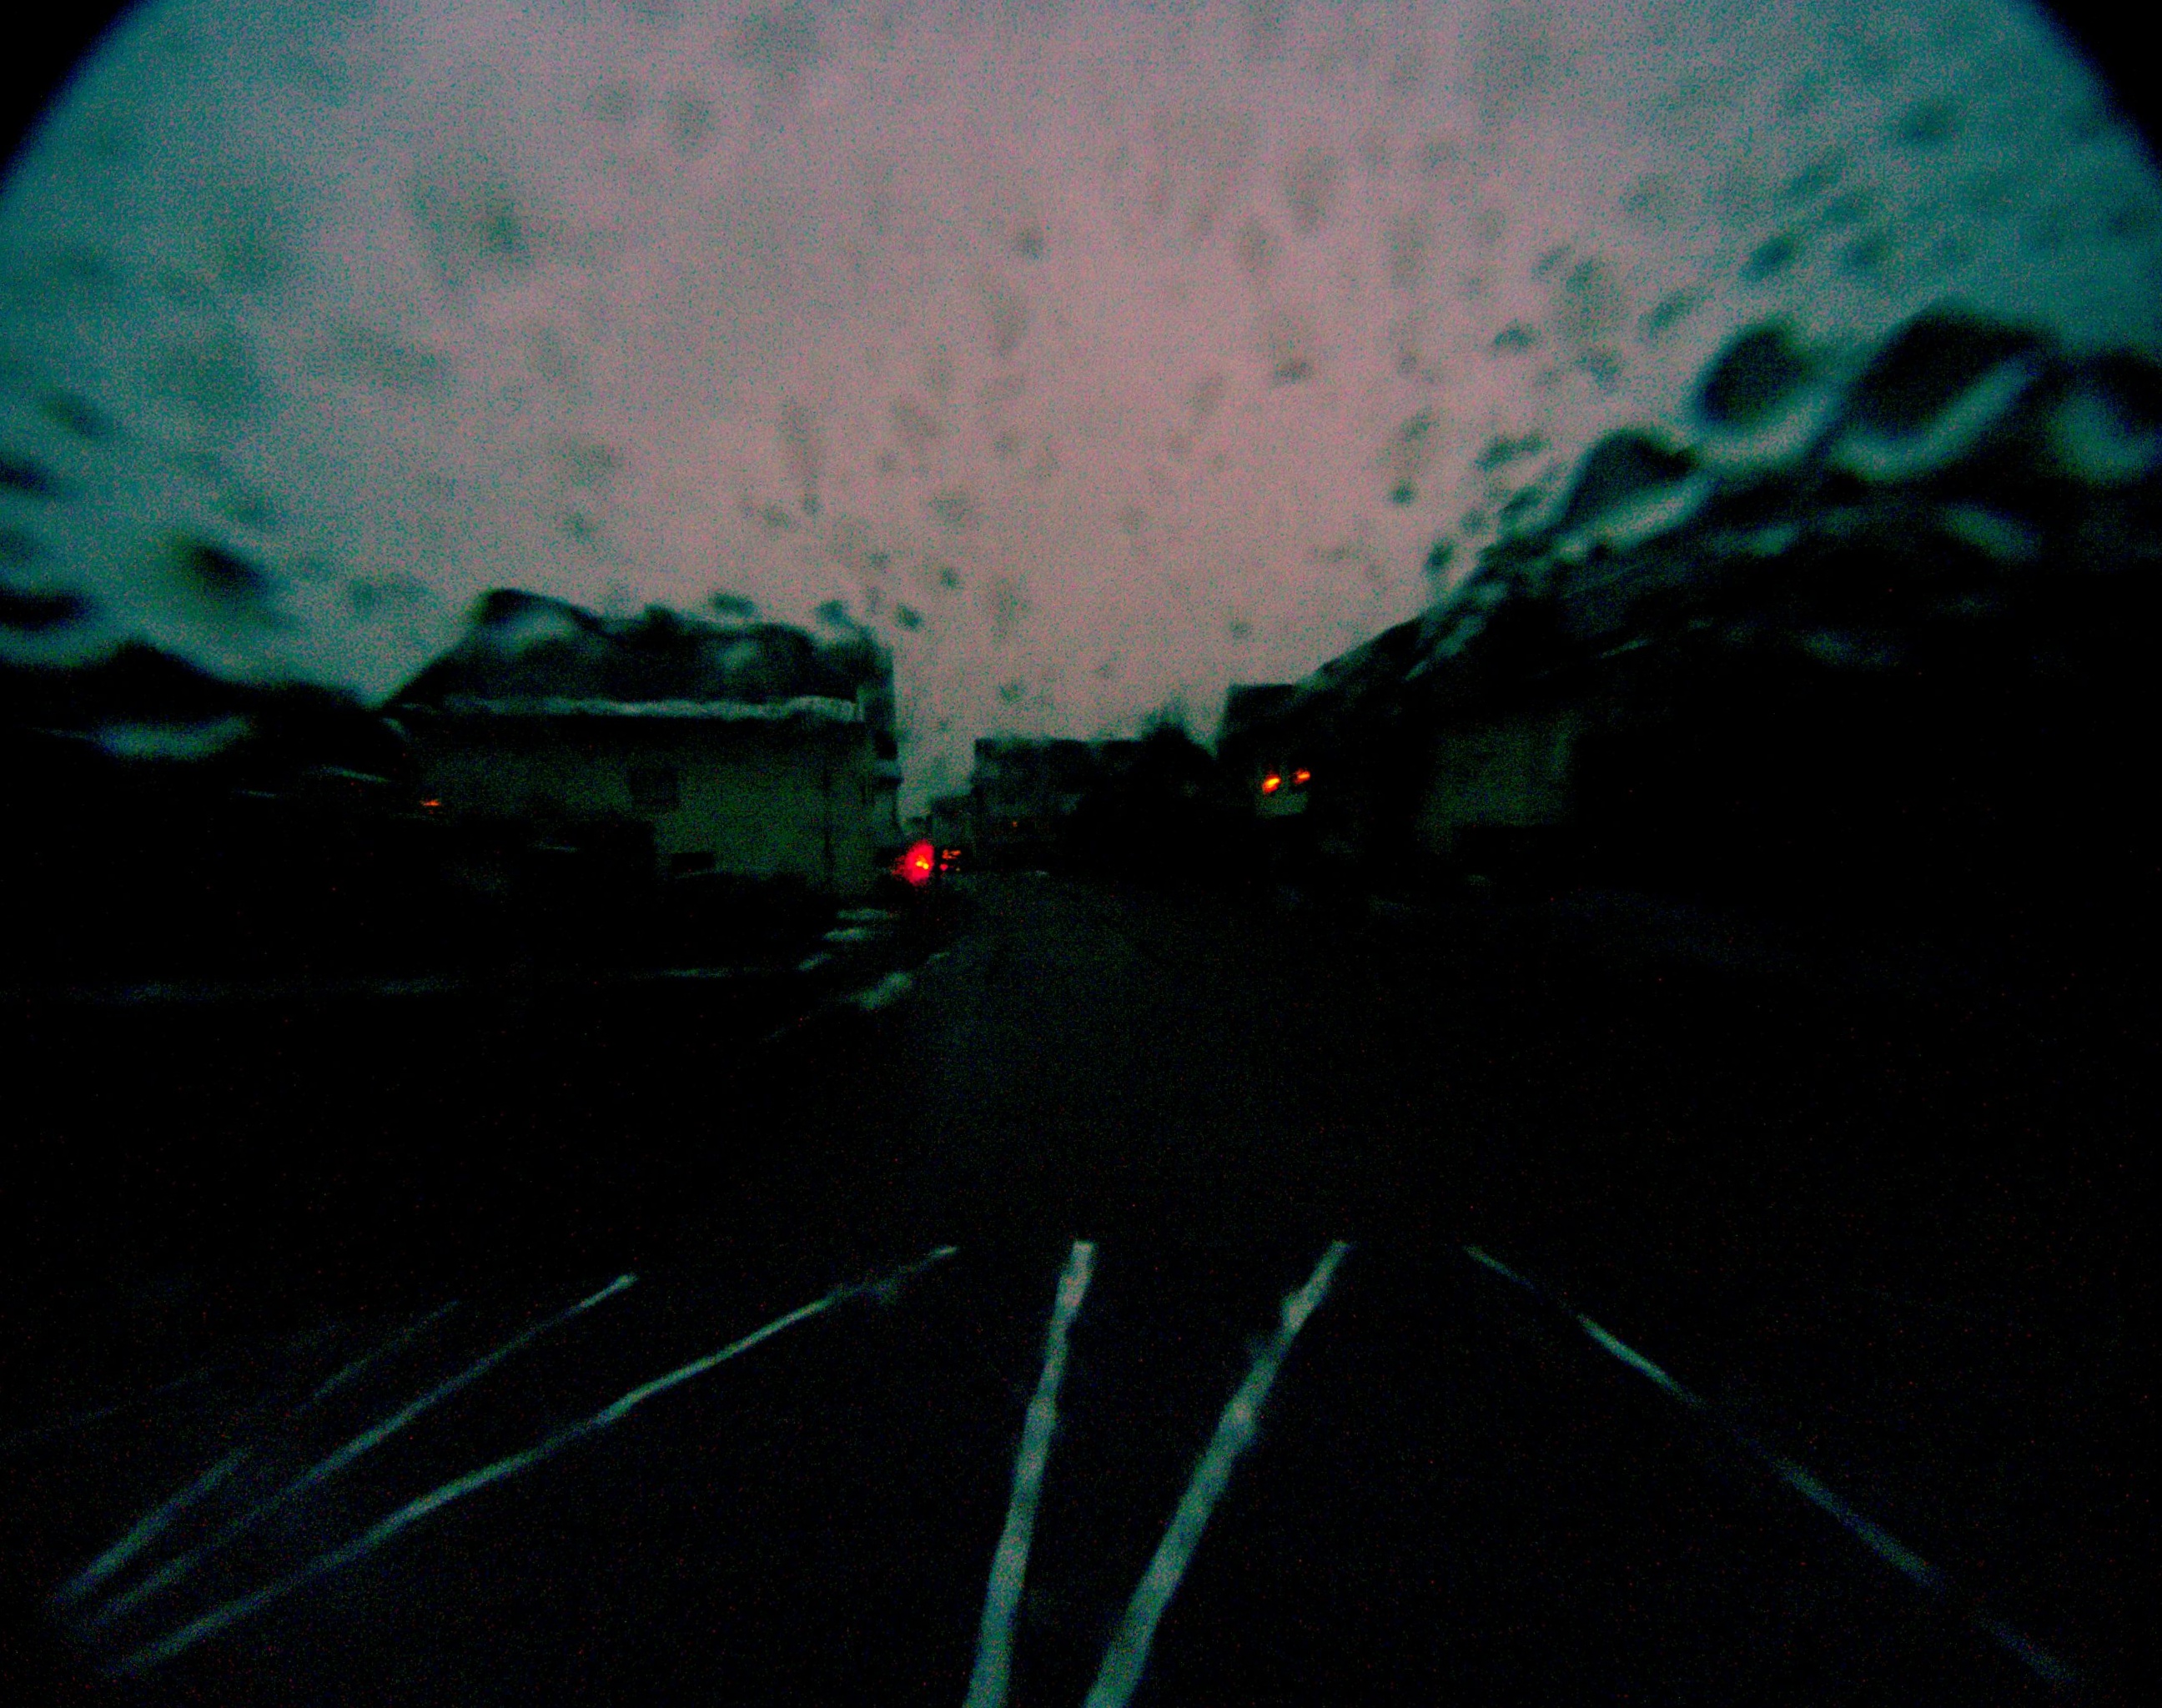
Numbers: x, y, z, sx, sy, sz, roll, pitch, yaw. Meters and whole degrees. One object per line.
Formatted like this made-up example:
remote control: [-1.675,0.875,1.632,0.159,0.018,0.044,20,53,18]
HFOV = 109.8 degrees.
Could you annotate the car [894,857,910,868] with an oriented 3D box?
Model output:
car: [-28.778,1.408,122.085,1.779,1.781,4.121,0,-2,-23]

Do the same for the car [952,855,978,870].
car: [-11.867,0.885,77.540,1.675,1.401,3.907,-2,0,-21]

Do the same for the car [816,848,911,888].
car: [-10.718,0.667,37.531,4.298,1.448,1.776,7,-1,-17]

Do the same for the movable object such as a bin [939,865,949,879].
movable object such as a bin: [-9.551,1.268,52.865,0.616,0.941,0.594,2,1,-15]

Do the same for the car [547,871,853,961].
car: [-6.646,1.052,13.734,4.518,1.435,1.999,0,0,-6]

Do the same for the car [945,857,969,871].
car: [-13.336,1.065,81.417,1.672,1.409,3.684,-3,1,-22]

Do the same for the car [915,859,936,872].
car: [-18.618,1.335,90.620,1.781,1.486,4.372,0,-1,-20]

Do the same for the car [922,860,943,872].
car: [-19.036,1.508,97.356,1.741,1.435,4.431,-1,0,-22]

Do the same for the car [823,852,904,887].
car: [-11.827,0.857,41.357,4.006,1.448,1.687,7,-2,-20]
